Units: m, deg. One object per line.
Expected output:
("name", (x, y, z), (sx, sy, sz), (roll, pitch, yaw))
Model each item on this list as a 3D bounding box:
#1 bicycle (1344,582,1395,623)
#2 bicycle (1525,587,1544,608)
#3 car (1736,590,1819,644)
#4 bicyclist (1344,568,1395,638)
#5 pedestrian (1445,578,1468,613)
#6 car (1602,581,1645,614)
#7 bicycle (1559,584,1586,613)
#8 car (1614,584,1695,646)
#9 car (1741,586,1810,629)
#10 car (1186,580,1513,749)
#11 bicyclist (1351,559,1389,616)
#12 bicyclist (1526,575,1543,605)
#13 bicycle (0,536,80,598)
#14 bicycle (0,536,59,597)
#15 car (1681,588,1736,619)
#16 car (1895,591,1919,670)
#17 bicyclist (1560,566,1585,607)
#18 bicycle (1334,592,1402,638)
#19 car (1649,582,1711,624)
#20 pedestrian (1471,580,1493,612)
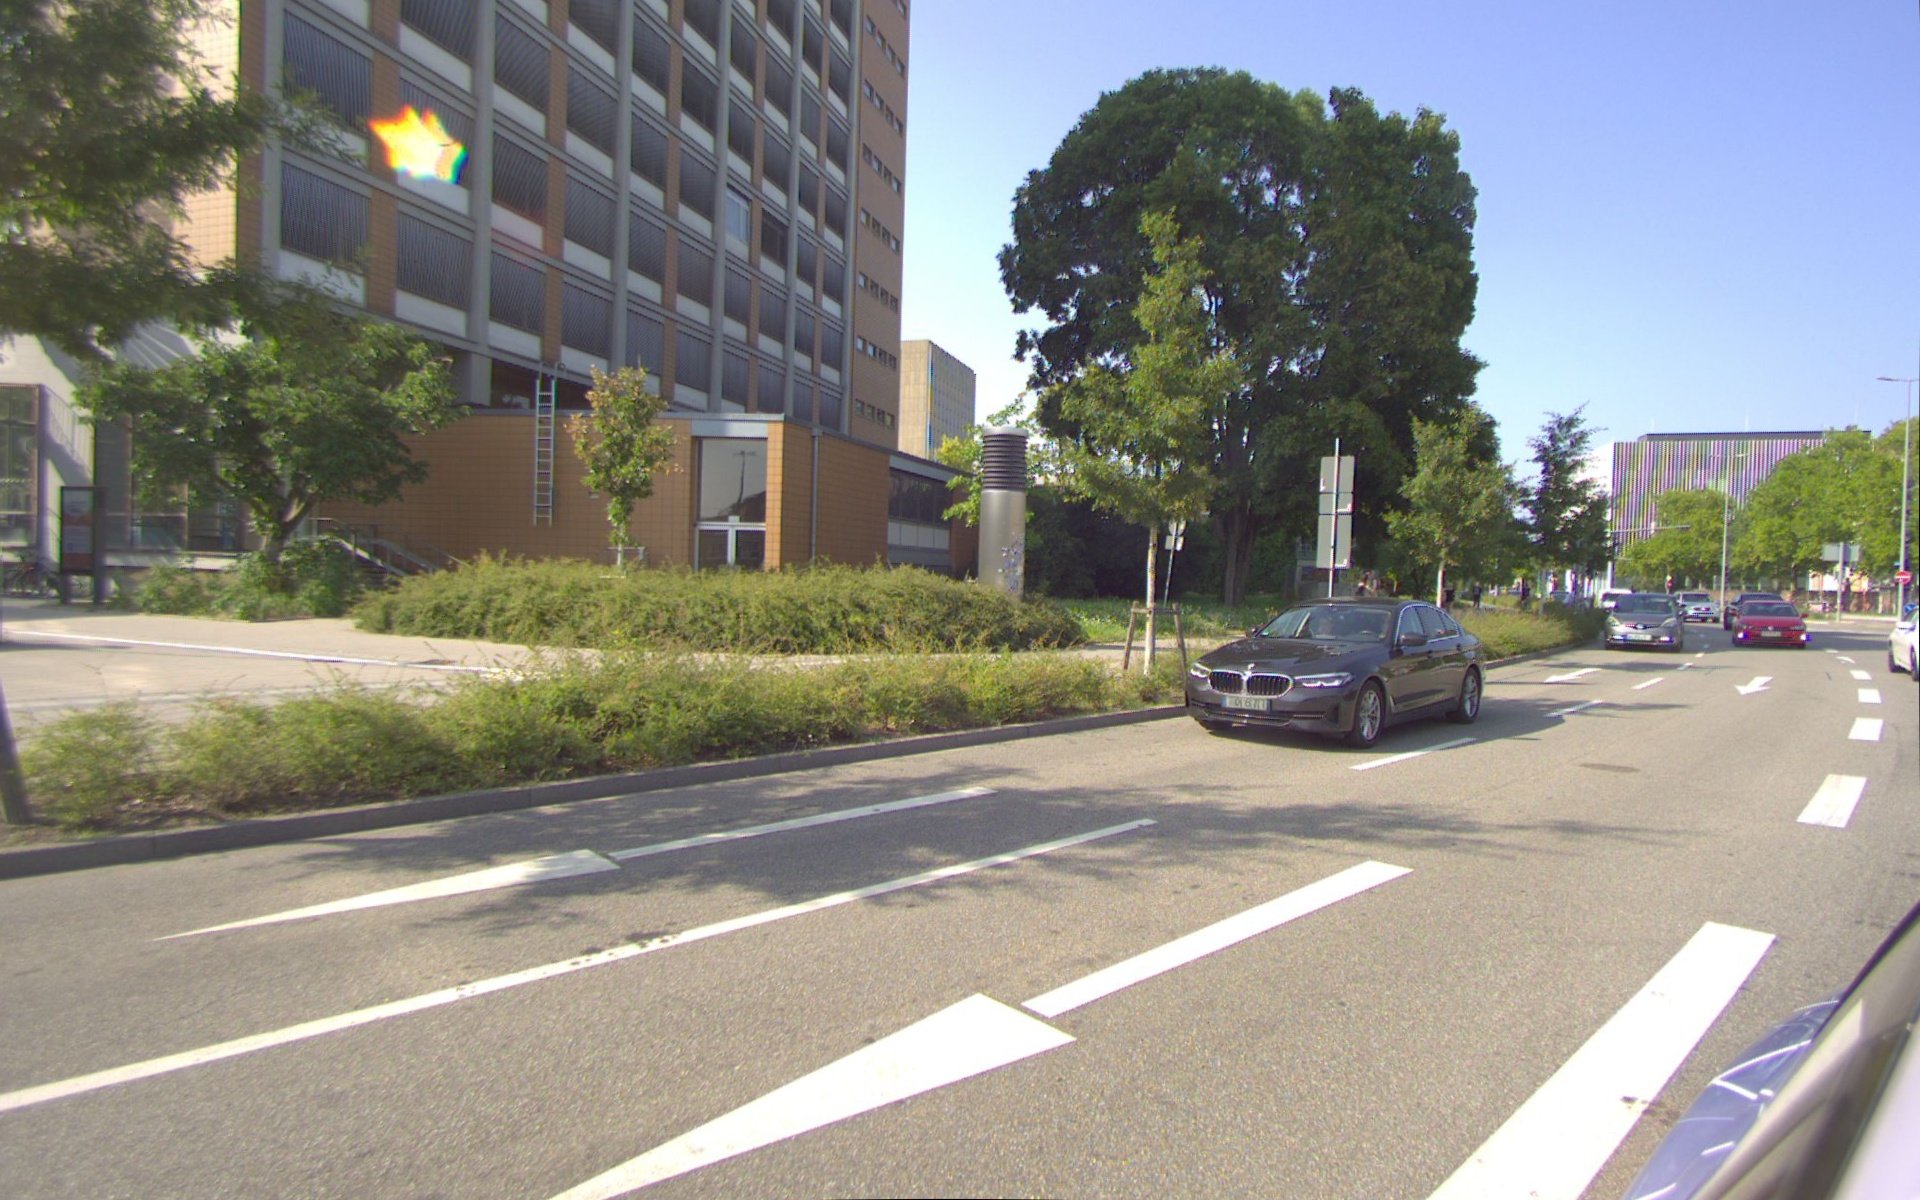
("bicycle", (11.927, 0.066, 29.421), (0.769, 1.131, 2.272), (2, 1, 38))
("bicycle", (32.194, -0.129, 56.724), (0.766, 1.131, 2.282), (2, 1, 27))
("car", (25.621, 0.473, 31.821), (1.678, 1.510, 4.317), (3, 2, 35))
("bicyclist", (9.255, 0.049, 22.872), (0.988, 1.531, 0.720), (0, 2, -45))
("pedestrian", (21.557, -0.197, 43.947), (0.723, 1.461, 0.845), (2, 1, 38))
("car", (42.348, -0.210, 64.654), (1.671, 1.966, 4.333), (2, 2, 26))
("bicycle", (25.116, -0.070, 41.496), (0.769, 1.131, 2.274), (3, 2, 35))
("car", (19.846, 0.406, 29.031), (1.771, 1.626, 4.368), (0, 0, 33))
("car", (34.674, 0.271, 43.144), (1.771, 1.713, 4.480), (2, 2, 33))
("car", (4.531, 0.574, 11.358), (4.596, 1.510, 1.684), (0, 1, -45))
("bicyclist", (11.931, -0.370, 29.417), (0.770, 1.613, 0.911), (2, 1, 39))
("bicyclist", (32.255, -0.566, 56.803), (0.766, 1.697, 0.915), (1, 1, 27))
("bicycle", (-22.422, -0.791, 24.354), (0.600, 1.450, 1.826), (2, 1, 20))
("bicycle", (-23.267, -0.818, 24.726), (0.600, 1.450, 1.804), (2, 1, 20))
("car", (42.631, 0.228, 57.732), (1.766, 1.742, 4.489), (-1, -1, 27))
("car", (19.814, 0.603, 19.785), (1.774, 1.501, 4.472), (2, 2, 37))
("bicyclist", (25.074, -0.546, 41.409), (0.769, 1.612, 0.912), (2, 1, 36))
("bicycle", (9.221, 0.324, 22.850), (0.720, 0.971, 1.890), (3, 2, 45))
("car", (29.876, 0.117, 42.096), (1.927, 1.627, 4.478), (1, 0, 33))
("pedestrian", (30.813, -0.229, 59.768), (0.954, 1.804, 0.991), (5, 3, 33))
